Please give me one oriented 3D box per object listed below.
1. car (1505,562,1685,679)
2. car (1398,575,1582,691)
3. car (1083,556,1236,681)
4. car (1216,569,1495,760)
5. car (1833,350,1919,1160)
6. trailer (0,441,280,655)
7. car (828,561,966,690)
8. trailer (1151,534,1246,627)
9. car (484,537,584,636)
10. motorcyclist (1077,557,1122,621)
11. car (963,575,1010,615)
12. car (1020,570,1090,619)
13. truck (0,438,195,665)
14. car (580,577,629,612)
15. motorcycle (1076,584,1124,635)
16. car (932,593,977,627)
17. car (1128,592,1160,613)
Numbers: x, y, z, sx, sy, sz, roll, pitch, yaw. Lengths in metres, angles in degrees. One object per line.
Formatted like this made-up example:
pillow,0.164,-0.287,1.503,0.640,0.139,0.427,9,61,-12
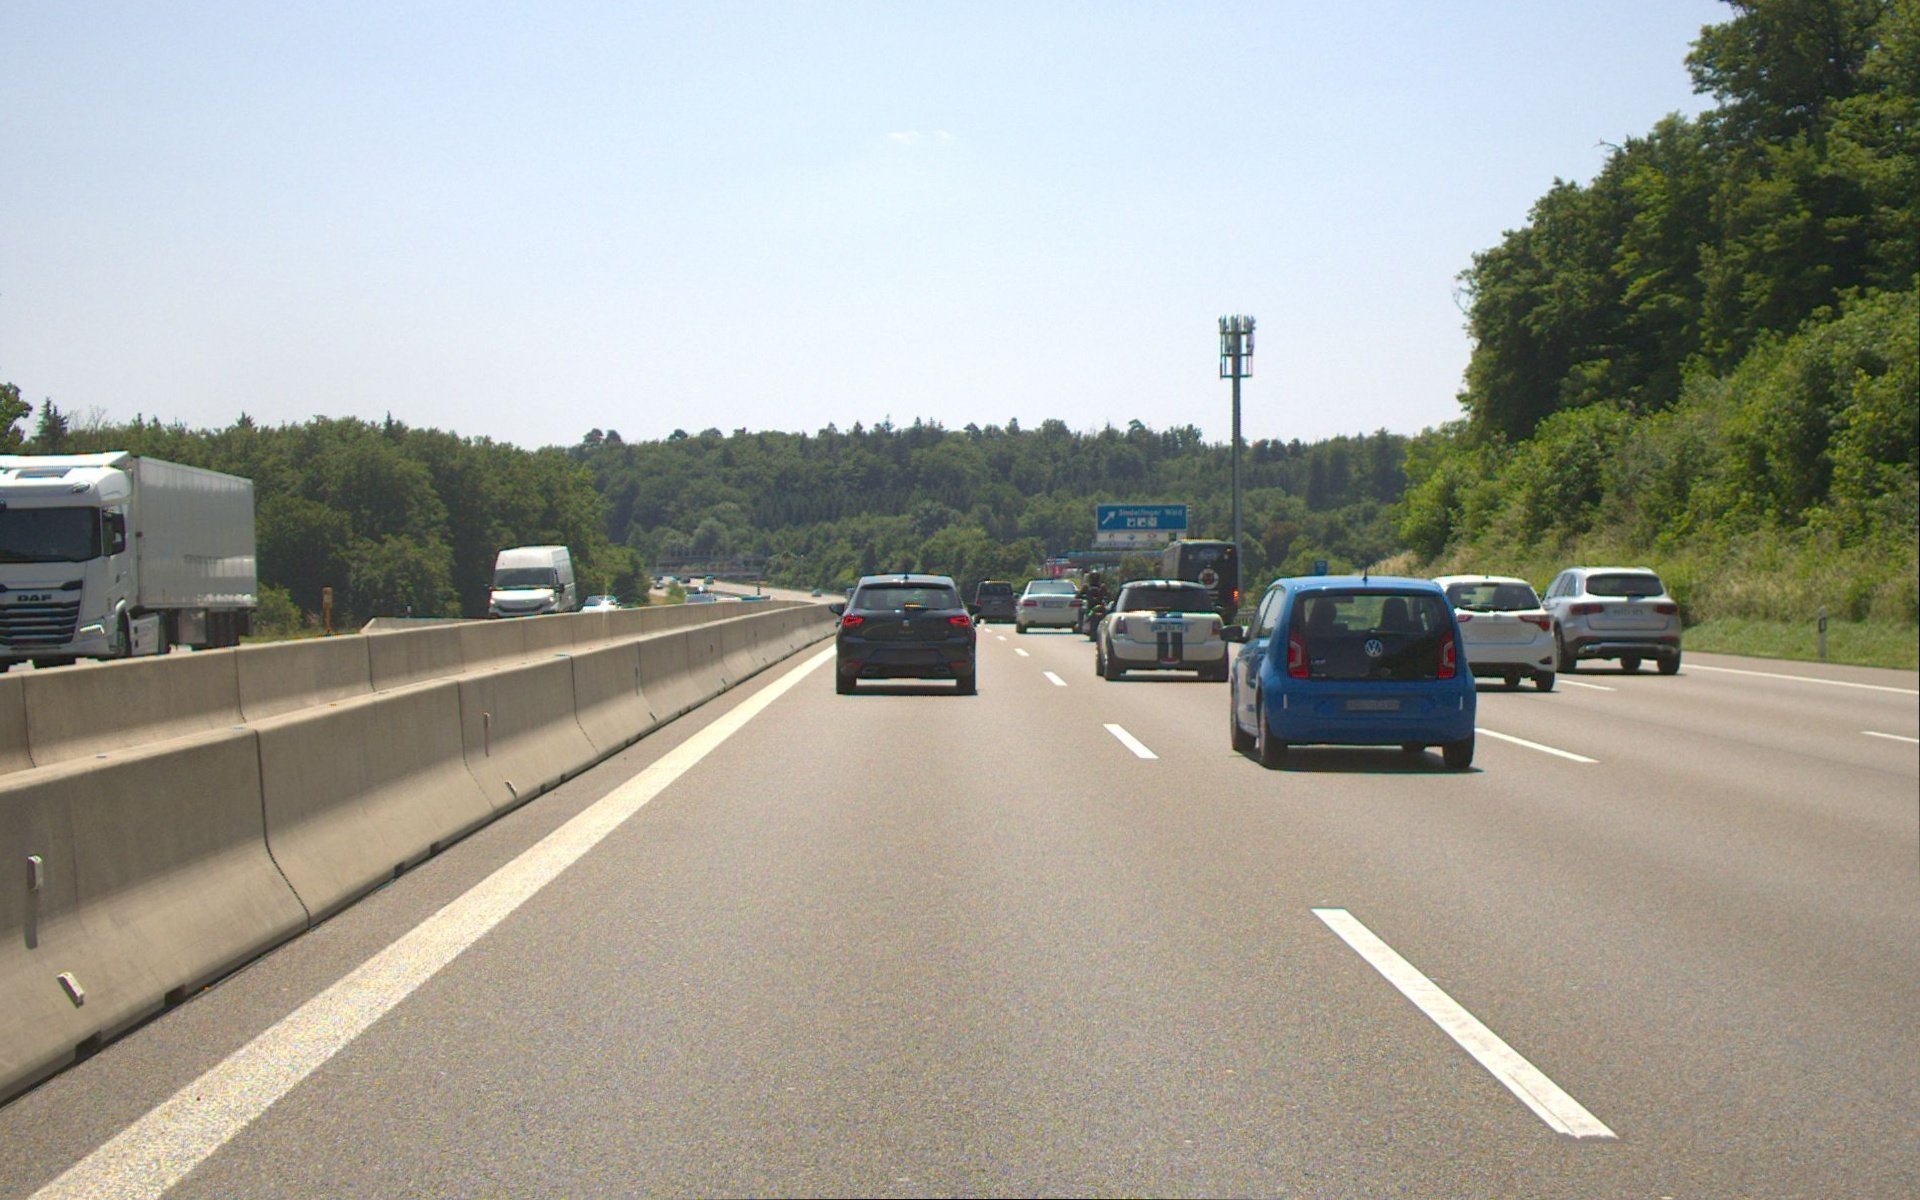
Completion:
car,9.993,0.286,54.477,1.801,1.725,5.239,1,0,-1
car,6.999,0.397,45.783,1.666,1.428,4.376,-1,1,-1
car,2.775,0.296,48.509,1.841,1.547,4.000,3,-2,0
car,3.062,0.483,27.331,1.737,1.406,4.000,0,0,0
car,3.415,0.417,7.117,1.961,2.046,4.784,0,1,0
trailer,-17.009,-1.040,72.412,2.925,4.070,13.840,0,0,-1
car,-0.754,0.282,42.468,1.624,1.482,3.685,1,1,0
trailer,10.218,-0.756,148.412,2.857,3.675,13.542,-1,-1,-1
car,-12.742,-0.405,103.312,2.085,2.790,7.603,-3,0,-1
motorcyclist,3.204,-0.257,79.265,0.962,1.433,1.235,-2,0,1
car,1.249,-0.268,162.806,2.097,1.845,4.081,-1,0,-1
car,2.585,-0.162,94.164,1.782,1.261,3.460,-1,1,0
truck,-16.819,-0.920,65.457,2.894,4.055,7.790,-1,1,-1
car,-16.701,-0.269,161.528,1.744,1.557,4.422,-2,0,0
motorcycle,3.224,0.213,79.387,0.977,1.125,2.271,-1,1,0
car,-0.297,0.521,181.823,1.993,1.678,4.424,1,0,-5
car,11.033,0.145,206.436,1.608,1.208,3.460,-1,-1,-2
